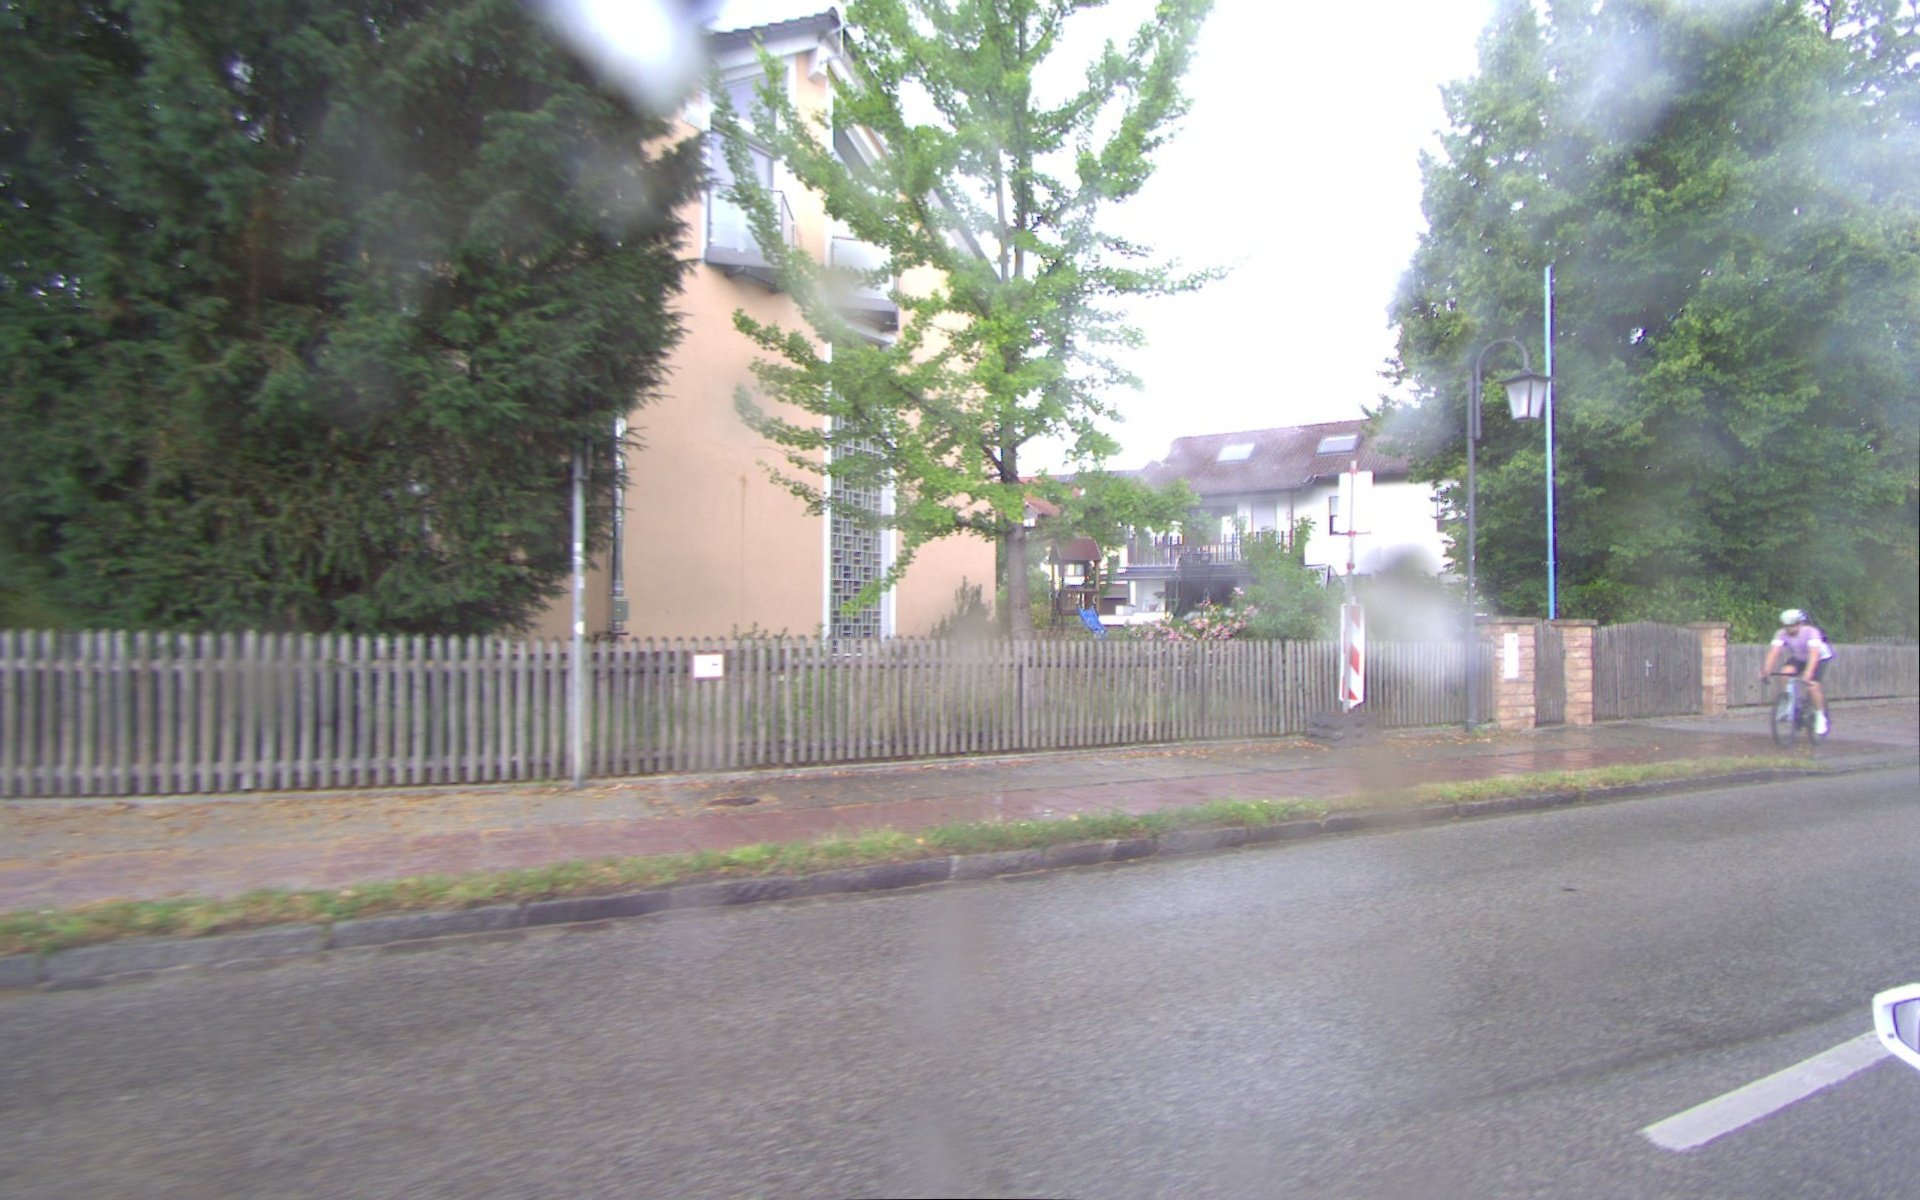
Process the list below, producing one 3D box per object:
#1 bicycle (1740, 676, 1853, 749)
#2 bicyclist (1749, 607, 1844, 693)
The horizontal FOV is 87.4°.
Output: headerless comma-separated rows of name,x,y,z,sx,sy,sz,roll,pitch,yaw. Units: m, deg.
bicycle,10.469,1.378,12.550,1.954,0.809,0.454,2,-1,-31
bicyclist,10.450,0.612,12.547,1.048,1.035,0.584,1,-1,-30
